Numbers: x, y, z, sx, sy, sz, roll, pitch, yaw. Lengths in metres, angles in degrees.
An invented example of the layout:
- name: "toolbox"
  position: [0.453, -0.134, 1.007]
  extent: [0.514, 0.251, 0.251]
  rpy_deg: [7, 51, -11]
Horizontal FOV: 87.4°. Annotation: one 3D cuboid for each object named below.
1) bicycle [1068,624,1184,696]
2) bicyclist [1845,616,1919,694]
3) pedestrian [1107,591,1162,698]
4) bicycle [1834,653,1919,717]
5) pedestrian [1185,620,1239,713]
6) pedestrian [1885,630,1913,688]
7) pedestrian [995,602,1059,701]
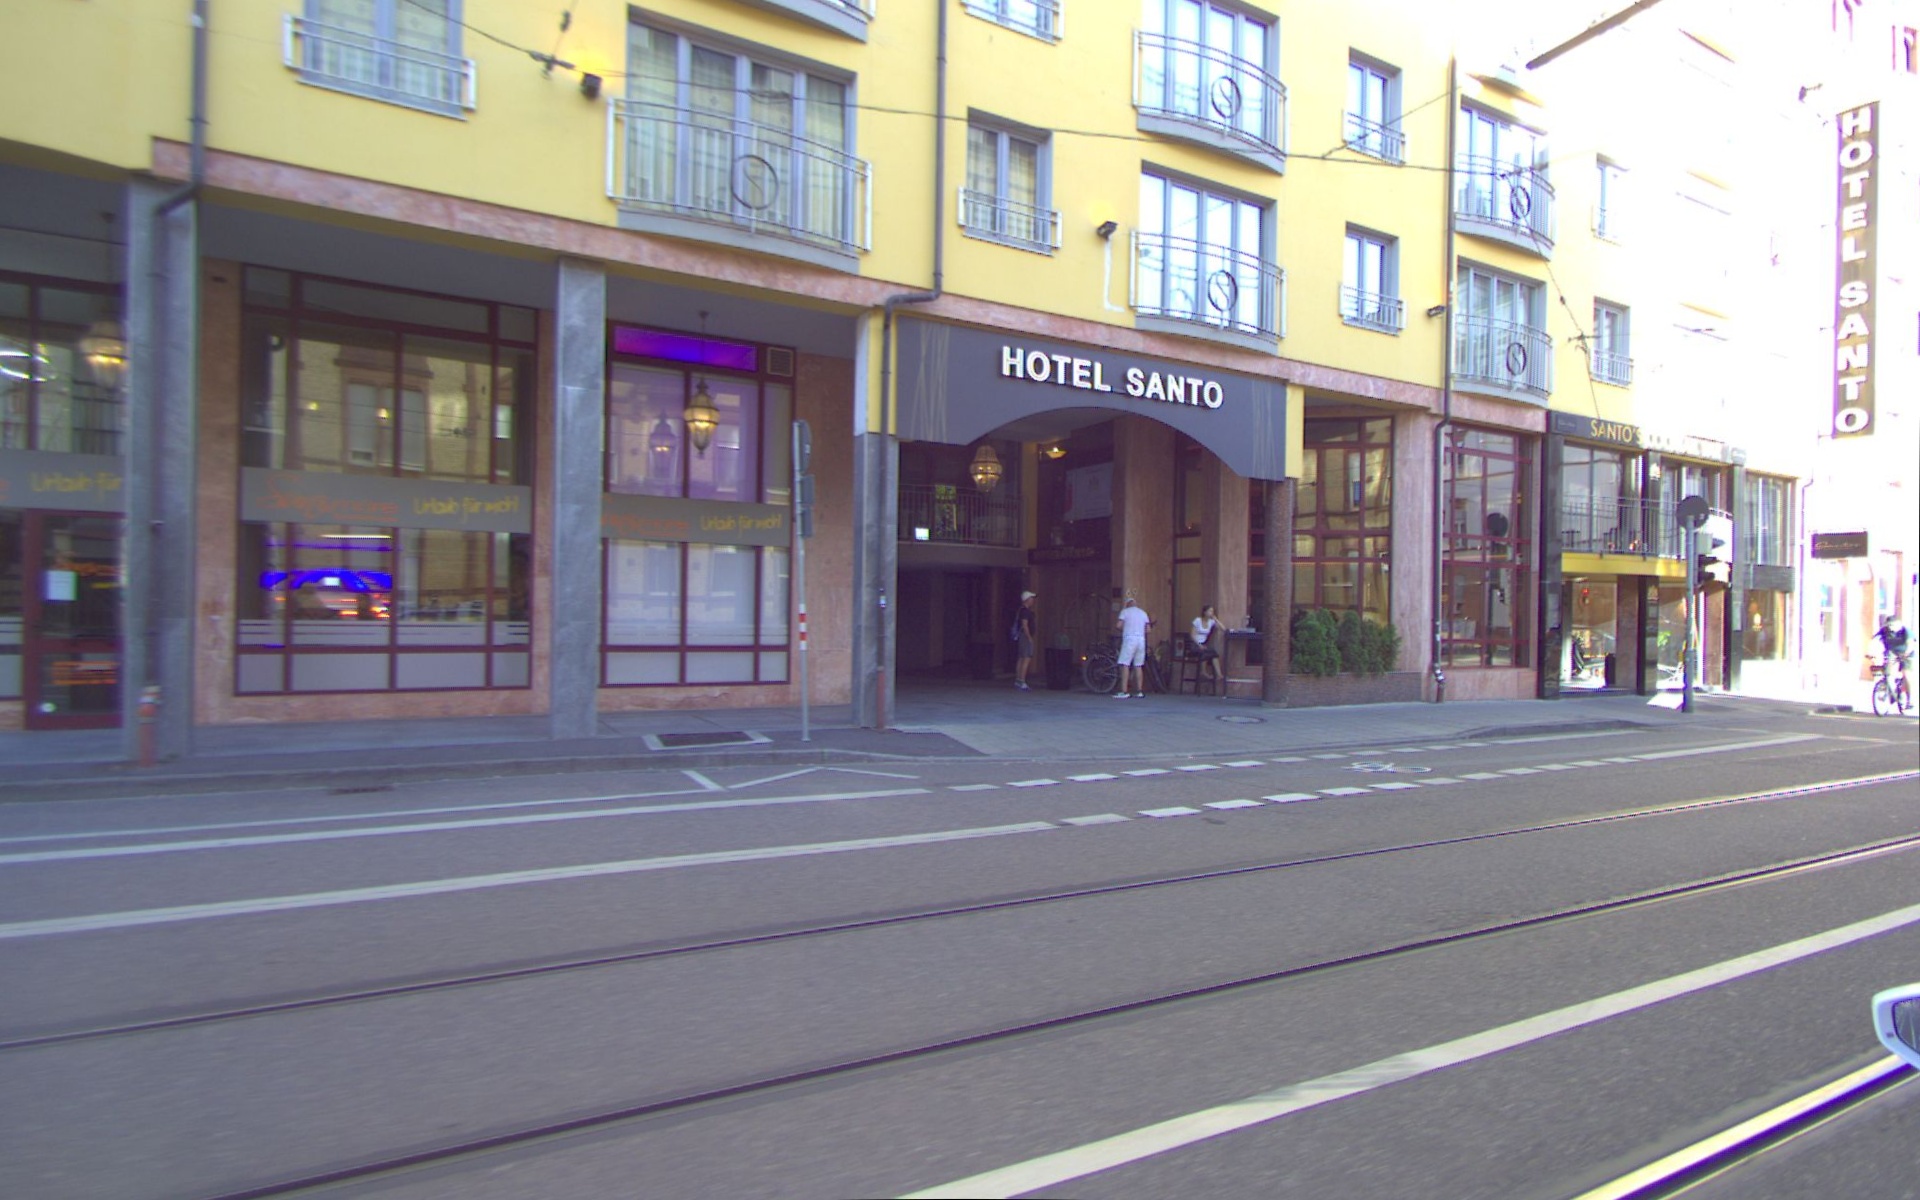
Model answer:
- name: "bicycle"
  position: [2.958, 1.056, 17.884]
  extent: [2.052, 1.219, 0.580]
  rpy_deg: [2, 0, -25]
- name: "bicyclist"
  position: [17.133, 1.005, 18.650]
  extent: [1.213, 1.399, 0.720]
  rpy_deg: [2, -1, -31]
- name: "pedestrian"
  position: [2.989, 0.754, 17.247]
  extent: [0.713, 1.793, 0.559]
  rpy_deg: [1, 0, -25]
- name: "bicycle"
  position: [17.106, 1.553, 18.649]
  extent: [2.038, 1.102, 0.727]
  rpy_deg: [2, -1, -31]
- name: "pedestrian"
  position: [4.406, 1.151, 17.588]
  extent: [0.593, 1.568, 0.703]
  rpy_deg: [1, -1, -24]
- name: "pedestrian"
  position: [23.727, 1.478, 25.380]
  extent: [0.510, 1.429, 0.402]
  rpy_deg: [1, -1, -31]
- name: "pedestrian"
  position: [1.244, 0.945, 18.635]
  extent: [0.943, 1.793, 0.705]
  rpy_deg: [1, -1, -25]
